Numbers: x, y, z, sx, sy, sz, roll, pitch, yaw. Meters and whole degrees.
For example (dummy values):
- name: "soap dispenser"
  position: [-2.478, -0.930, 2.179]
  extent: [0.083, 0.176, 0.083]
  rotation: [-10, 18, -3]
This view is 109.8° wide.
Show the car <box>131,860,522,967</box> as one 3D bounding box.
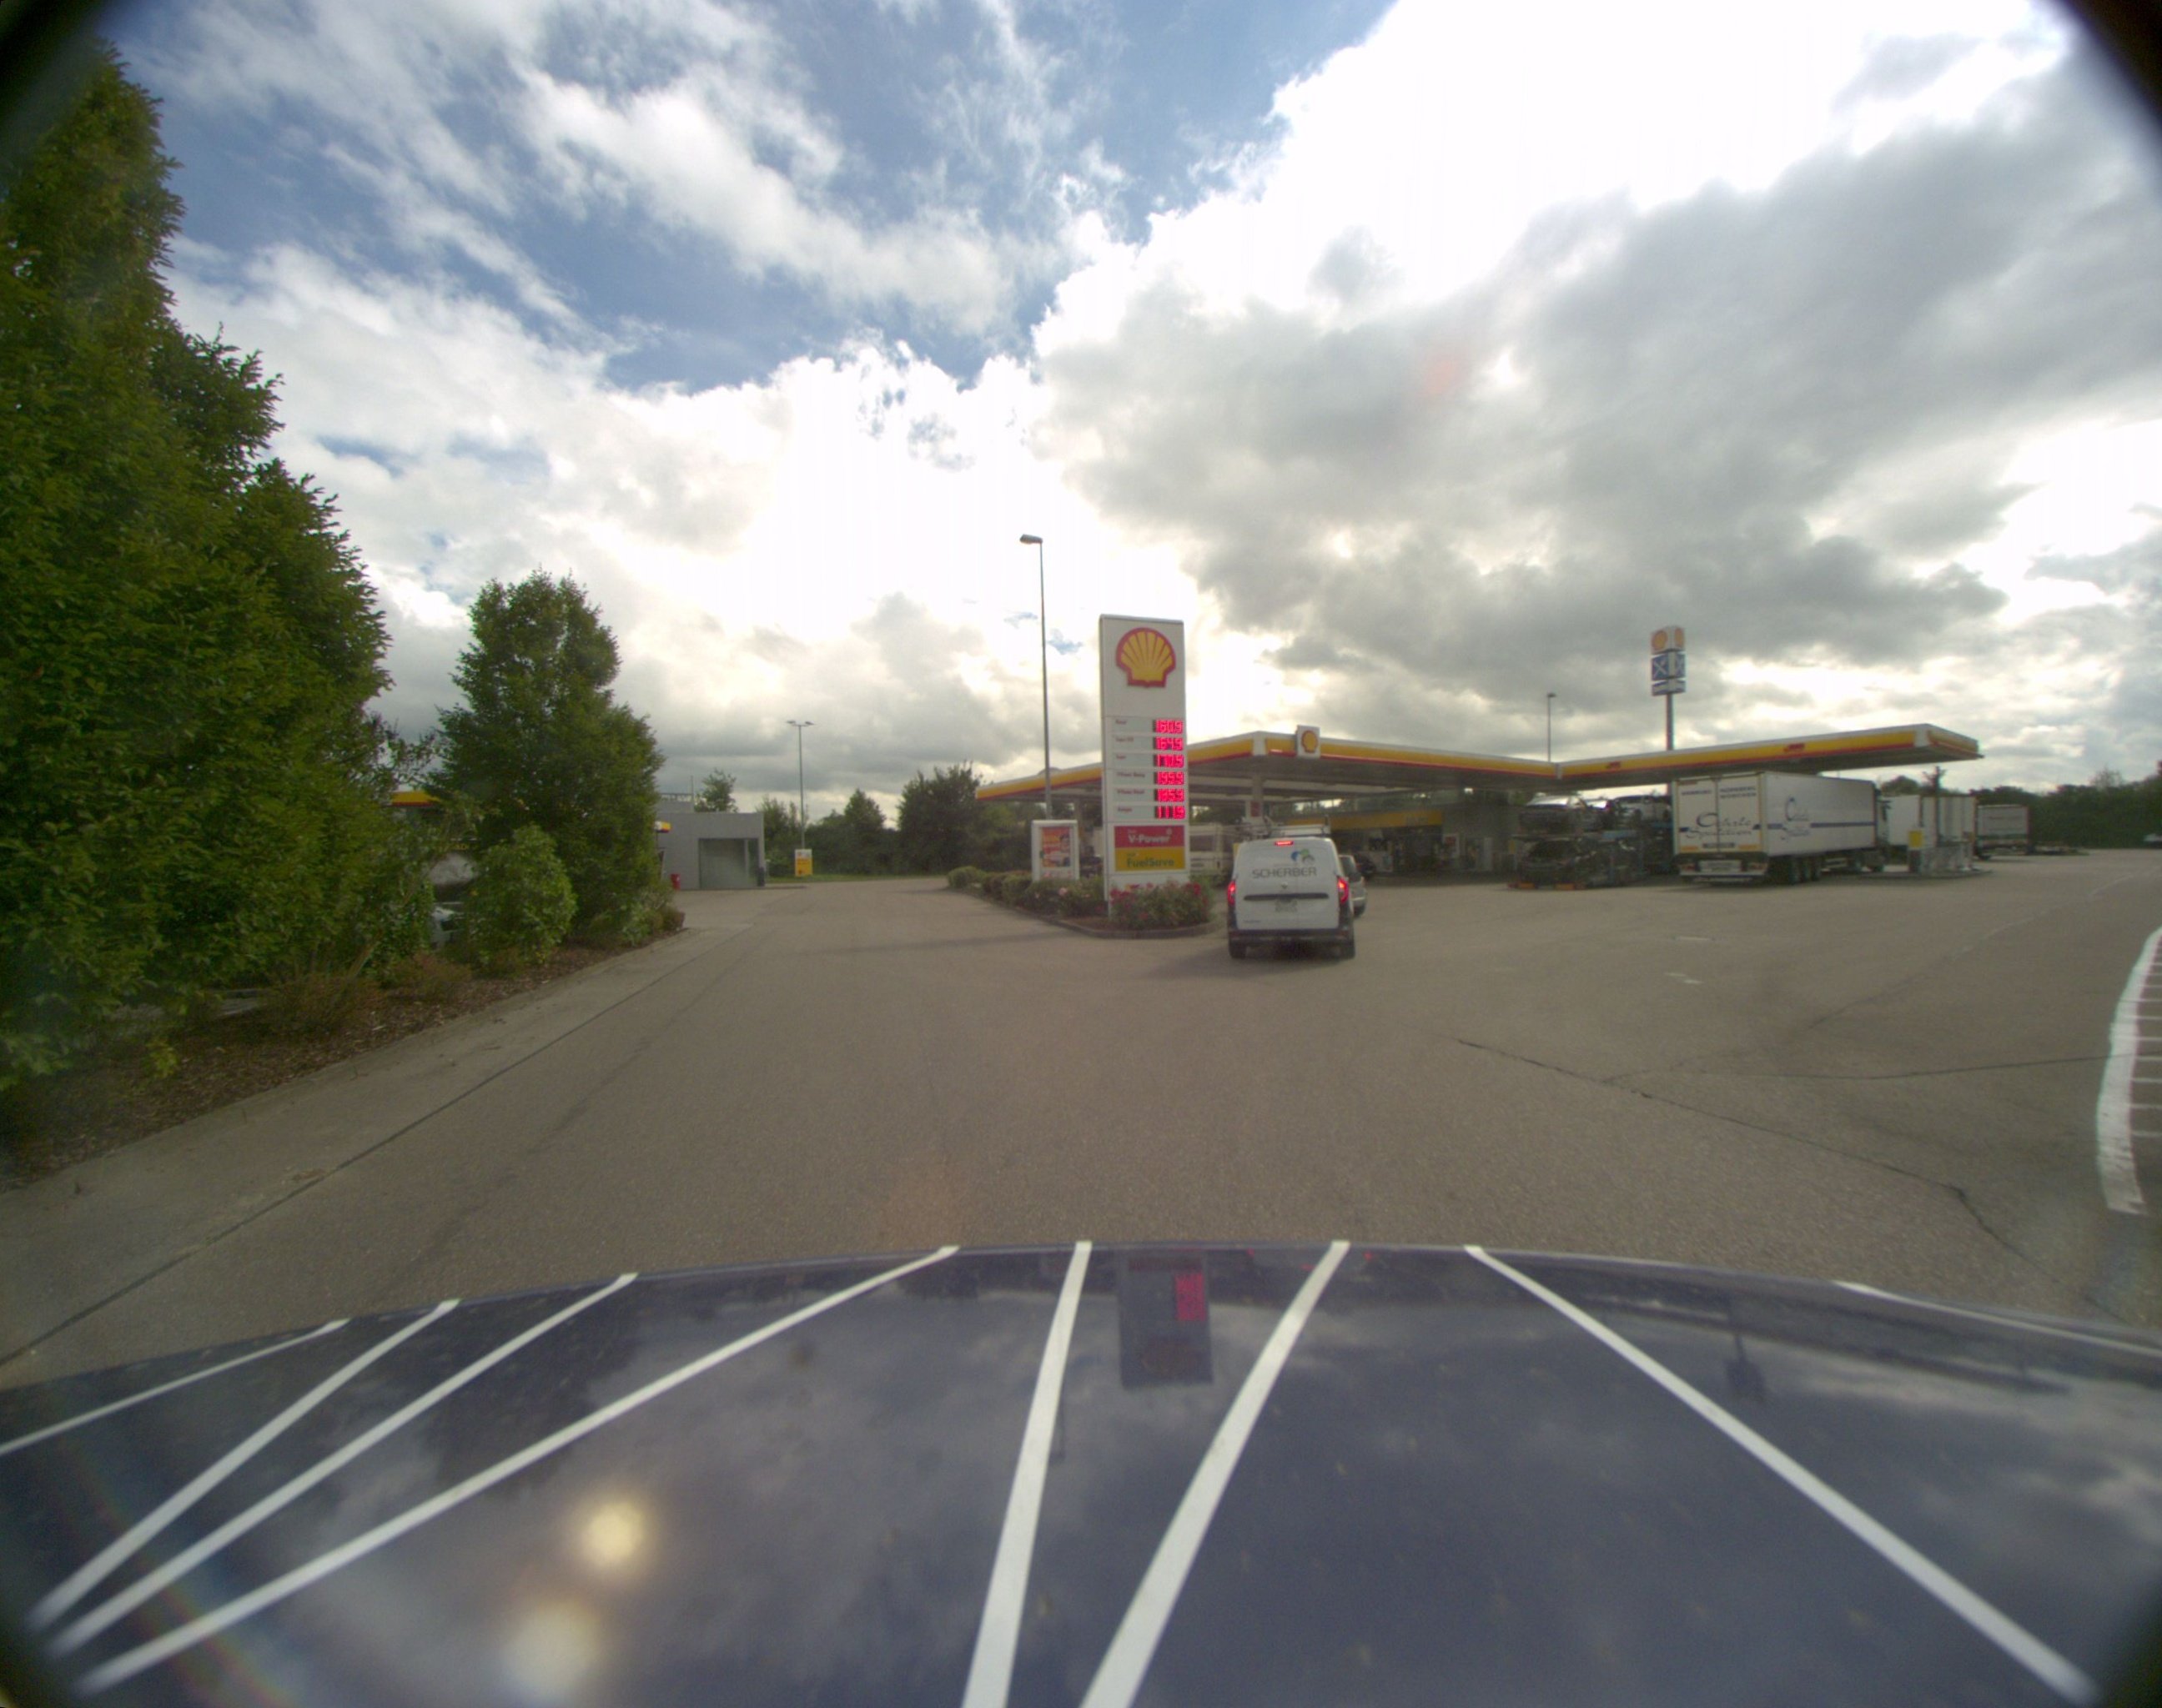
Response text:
- name: "car"
  position: [-11.168, 0.819, 11.572]
  extent: [3.884, 1.427, 1.724]
  rotation: [0, 0, -12]

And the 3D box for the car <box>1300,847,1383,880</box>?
- name: "car"
  position: [13.705, 0.507, 40.106]
  extent: [1.720, 1.592, 3.751]
  rotation: [-2, 0, -39]

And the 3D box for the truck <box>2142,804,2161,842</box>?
- name: "truck"
  position: [105.494, -2.999, 70.315]
  extent: [2.827, 3.635, 8.043]
  rotation: [-1, 1, -20]

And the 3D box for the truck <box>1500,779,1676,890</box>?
- name: "truck"
  position: [21.830, -0.822, 32.149]
  extent: [13.284, 3.901, 2.744]
  rotation: [-2, 2, -41]

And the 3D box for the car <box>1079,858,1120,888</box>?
- name: "car"
  position: [1.115, 1.045, 43.087]
  extent: [1.848, 1.565, 4.002]
  rotation: [-2, 0, 8]

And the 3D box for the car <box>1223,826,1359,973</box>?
- name: "car"
  position: [3.557, 0.641, 12.404]
  extent: [1.792, 2.000, 3.887]
  rotation: [-2, 0, 20]

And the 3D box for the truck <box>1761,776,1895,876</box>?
- name: "truck"
  position: [33.038, -1.178, 33.533]
  extent: [7.181, 4.001, 2.706]
  rotation: [-2, 0, -33]

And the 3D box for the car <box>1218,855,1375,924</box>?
- name: "car"
  position: [5.376, 0.845, 19.383]
  extent: [1.582, 1.538, 3.713]
  rotation: [-2, 0, -32]

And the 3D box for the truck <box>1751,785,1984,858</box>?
- name: "truck"
  position: [50.945, -1.973, 50.359]
  extent: [2.958, 4.089, 14.760]
  rotation: [-1, 1, 12]

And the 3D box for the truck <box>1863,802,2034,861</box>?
- name: "truck"
  position: [67.520, -1.648, 59.702]
  extent: [2.988, 4.086, 11.588]
  rotation: [-2, 0, 16]

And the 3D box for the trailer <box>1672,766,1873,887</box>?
- name: "trailer"
  position: [27.597, -1.031, 29.971]
  extent: [12.869, 4.001, 2.706]
  rotation: [-2, 0, -33]

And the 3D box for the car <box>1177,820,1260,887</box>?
- name: "car"
  position: [6.356, -0.039, 34.527]
  extent: [2.219, 2.770, 5.818]
  rotation: [-1, 0, 25]
